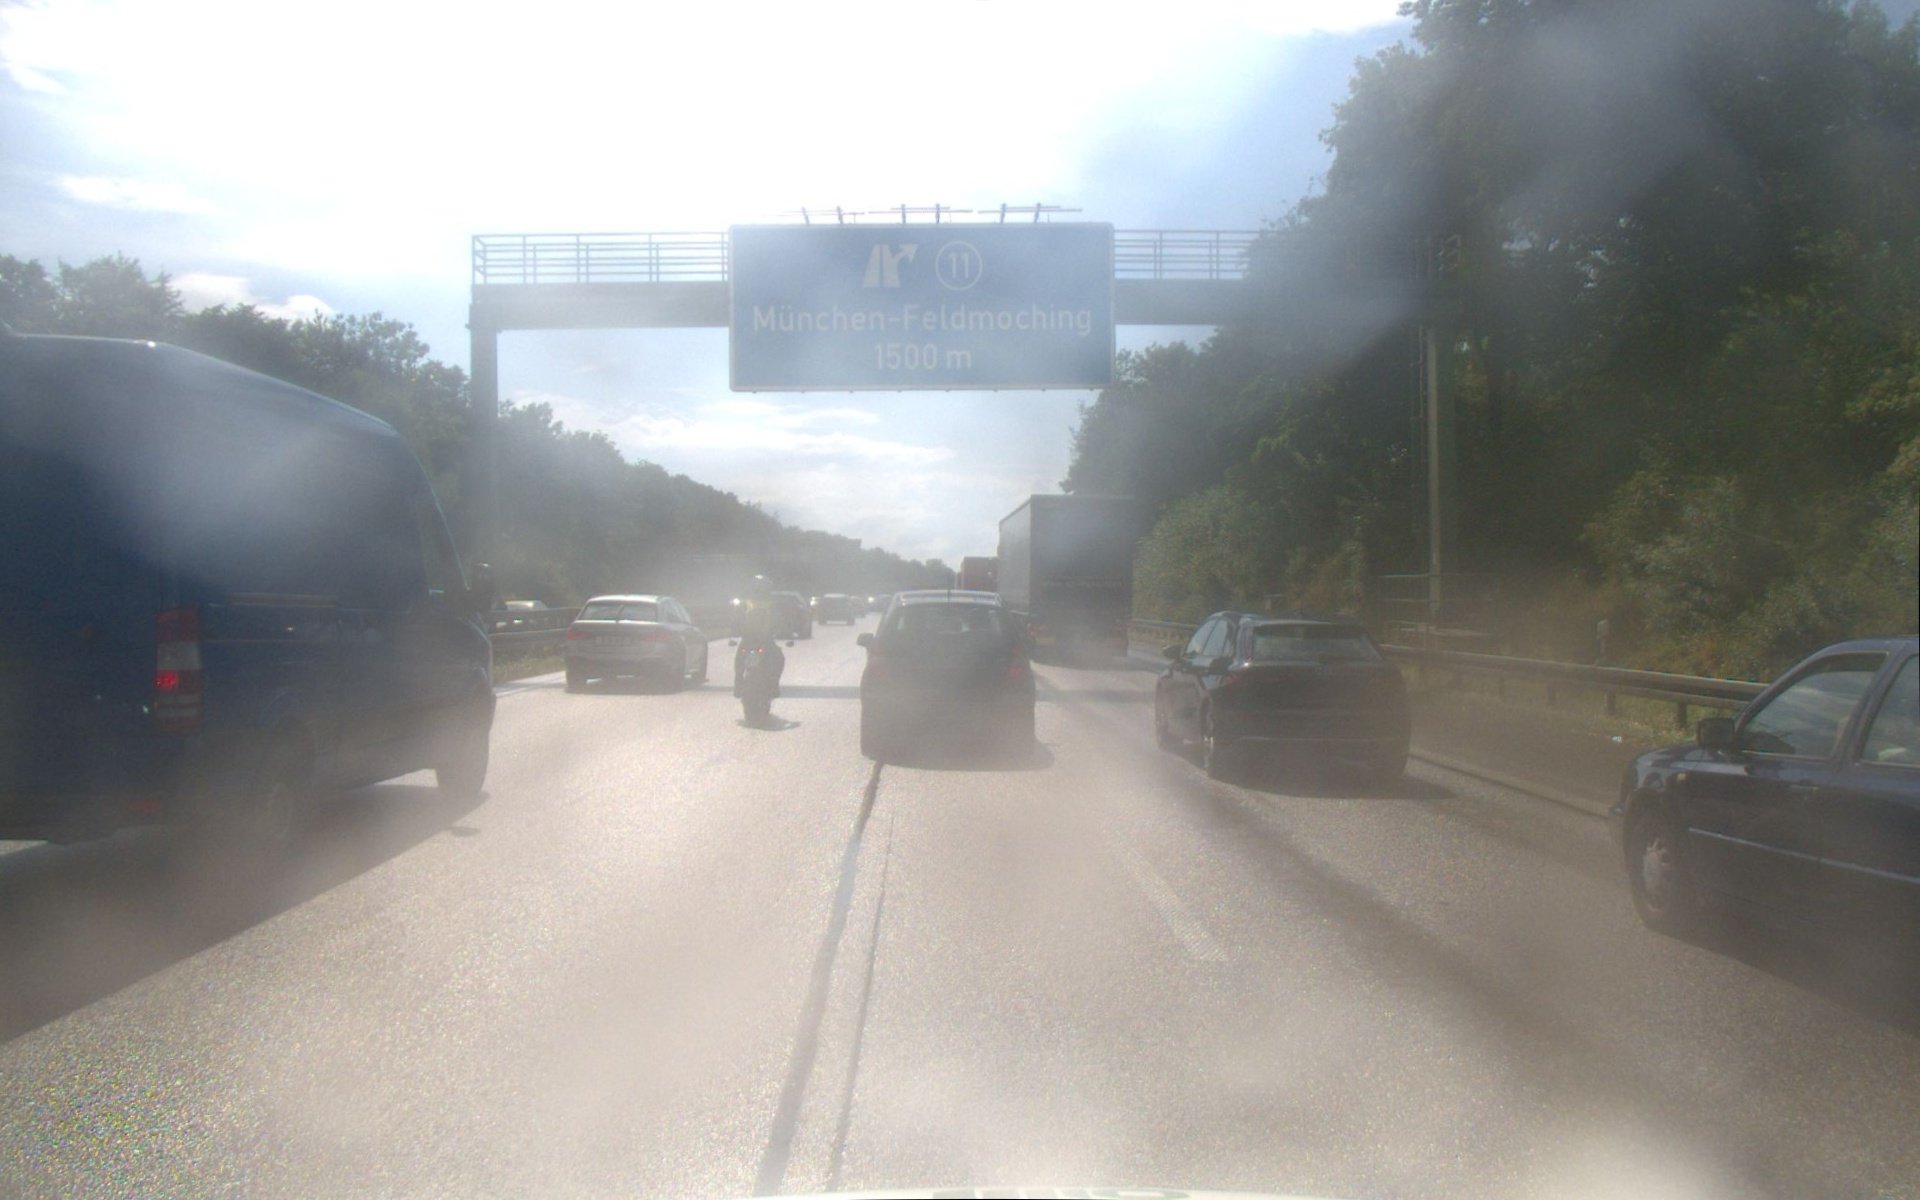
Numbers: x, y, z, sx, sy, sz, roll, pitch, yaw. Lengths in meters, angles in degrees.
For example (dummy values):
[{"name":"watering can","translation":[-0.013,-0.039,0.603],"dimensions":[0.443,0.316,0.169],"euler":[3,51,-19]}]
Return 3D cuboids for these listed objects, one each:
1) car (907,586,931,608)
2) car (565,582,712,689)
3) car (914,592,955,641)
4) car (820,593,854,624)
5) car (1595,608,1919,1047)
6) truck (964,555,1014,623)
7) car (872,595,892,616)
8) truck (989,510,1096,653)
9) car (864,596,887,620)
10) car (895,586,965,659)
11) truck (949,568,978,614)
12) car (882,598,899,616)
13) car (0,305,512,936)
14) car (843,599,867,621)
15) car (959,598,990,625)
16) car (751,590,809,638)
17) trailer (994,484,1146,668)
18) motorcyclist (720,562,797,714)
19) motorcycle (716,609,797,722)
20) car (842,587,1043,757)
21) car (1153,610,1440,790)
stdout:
[{"name":"car","translation":[-2.813,-0.202,113.269],"dimensions":[1.599,1.516,3.435],"euler":[1,0,-1]},{"name":"car","translation":[-5.249,0.547,27.487],"dimensions":[1.723,1.622,4.329],"euler":[1,0,-2]},{"name":"car","translation":[-1.079,0.659,68.260],"dimensions":[1.641,1.970,3.772],"euler":[1,0,-1]},{"name":"car","translation":[-6.605,0.464,88.797],"dimensions":[1.641,1.625,3.435],"euler":[1,0,-1]},{"name":"car","translation":[4.055,0.787,6.415],"dimensions":[1.617,1.481,3.743],"euler":[0,0,-3]},{"name":"truck","translation":[1.892,-0.715,113.112],"dimensions":[3.137,4.481,9.430],"euler":[1,0,-1]},{"name":"car","translation":[-7.948,0.557,169.374],"dimensions":[1.953,2.049,3.999],"euler":[1,0,-1]},{"name":"truck","translation":[2.606,-0.580,54.210],"dimensions":[2.990,4.400,5.884],"euler":[1,0,-2]},{"name":"car","translation":[-7.468,0.708,146.309],"dimensions":[1.953,2.049,3.999],"euler":[1,0,-1]},{"name":"car","translation":[-0.892,0.644,48.556],"dimensions":[1.953,2.049,3.998],"euler":[1,0,-2]},{"name":"truck","translation":[0.313,-0.929,179.633],"dimensions":[2.823,4.769,12.655],"euler":[1,0,-1]},{"name":"car","translation":[-8.046,0.843,191.979],"dimensions":[1.953,2.049,3.999],"euler":[1,0,-1]},{"name":"car","translation":[-4.418,0.080,9.943],"dimensions":[1.975,2.695,5.775],"euler":[0,0,-1]},{"name":"car","translation":[-7.672,0.720,121.101],"dimensions":[1.641,1.516,3.435],"euler":[1,0,-1]},{"name":"car","translation":[0.810,0.651,95.461],"dimensions":[1.641,1.516,3.435],"euler":[1,0,-1]},{"name":"car","translation":[-6.458,0.497,59.726],"dimensions":[1.855,1.656,4.192],"euler":[1,0,-4]},{"name":"trailer","translation":[2.791,-0.579,46.912],"dimensions":[3.026,4.388,14.100],"euler":[0,0,-1]},{"name":"motorcyclist","translation":[-2.451,0.452,20.258],"dimensions":[0.805,1.791,1.389],"euler":[1,-1,-3]},{"name":"motorcycle","translation":[-2.460,0.768,20.233],"dimensions":[0.803,1.285,2.116],"euler":[1,0,-3]},{"name":"car","translation":[-0.213,0.679,17.727],"dimensions":[1.876,1.592,4.312],"euler":[1,0,-1]},{"name":"car","translation":[2.986,0.822,15.600],"dimensions":[1.719,1.421,4.367],"euler":[1,0,-1]}]
